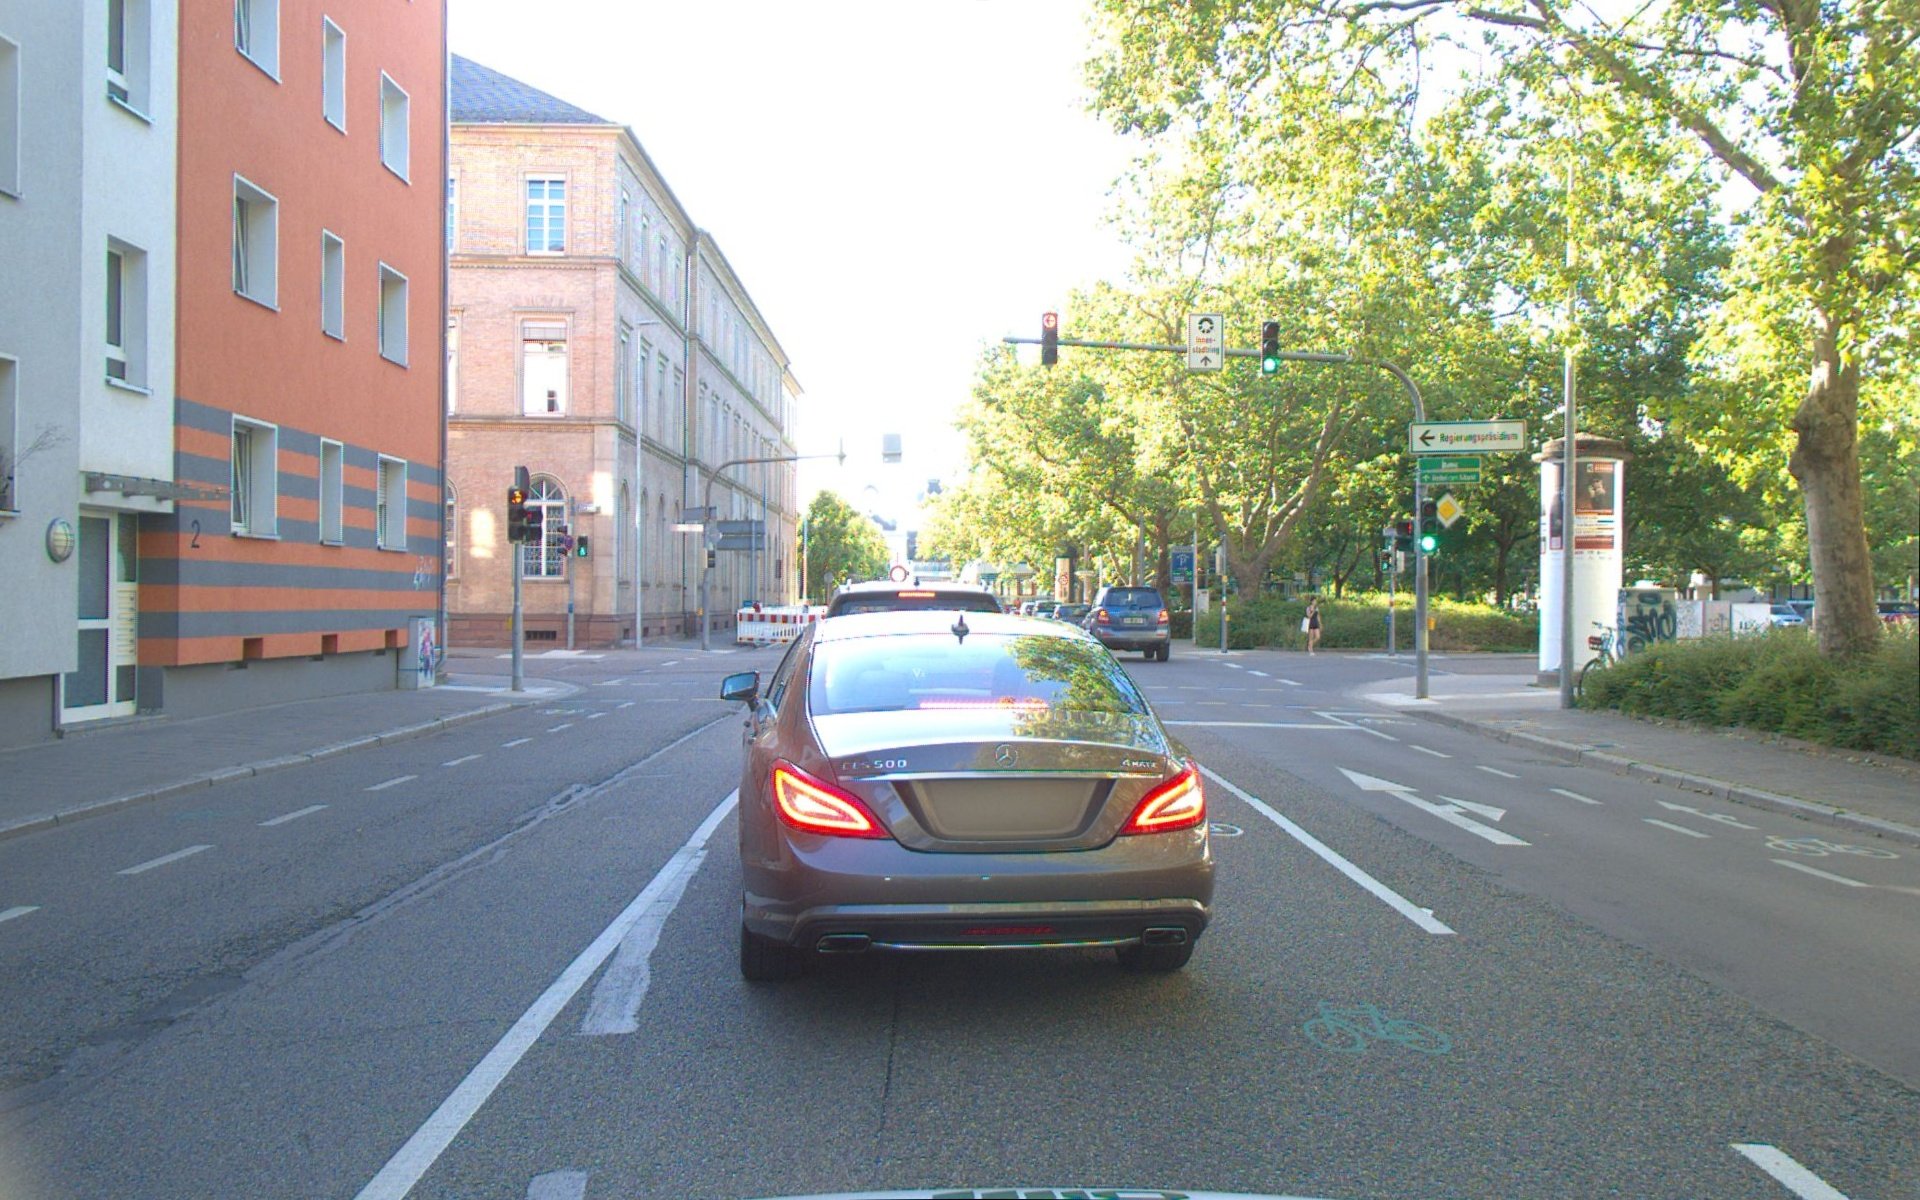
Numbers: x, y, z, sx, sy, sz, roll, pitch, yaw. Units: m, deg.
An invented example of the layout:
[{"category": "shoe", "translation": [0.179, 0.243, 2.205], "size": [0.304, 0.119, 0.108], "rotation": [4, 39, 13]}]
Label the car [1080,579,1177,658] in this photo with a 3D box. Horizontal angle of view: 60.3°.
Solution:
[{"category": "car", "translation": [4.027, 0.414, 40.172], "size": [1.823, 1.794, 4.481], "rotation": [1, 0, -1]}]

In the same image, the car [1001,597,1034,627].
[{"category": "car", "translation": [3.113, 0.656, 89.923], "size": [1.568, 1.576, 3.680], "rotation": [1, 0, -1]}]

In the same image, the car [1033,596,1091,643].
[{"category": "car", "translation": [3.485, 0.646, 56.887], "size": [1.670, 1.545, 3.999], "rotation": [1, 0, -1]}]

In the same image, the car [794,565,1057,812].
[{"category": "car", "translation": [-0.270, 0.619, 13.612], "size": [1.823, 1.712, 3.999], "rotation": [1, 0, -1]}]

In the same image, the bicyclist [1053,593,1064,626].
[{"category": "bicyclist", "translation": [6.261, 0.607, 105.175], "size": [0.583, 2.075, 0.565], "rotation": [1, -1, -5]}]

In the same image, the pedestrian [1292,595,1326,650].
[{"category": "pedestrian", "translation": [10.066, 0.640, 47.720], "size": [0.625, 1.572, 0.906], "rotation": [1, -1, -15]}]

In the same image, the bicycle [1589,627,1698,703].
[{"category": "bicycle", "translation": [9.872, 0.923, 23.856], "size": [1.868, 1.046, 0.633], "rotation": [1, -1, -39]}]

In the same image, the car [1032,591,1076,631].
[{"category": "car", "translation": [4.129, 0.492, 73.068], "size": [1.696, 1.691, 3.680], "rotation": [1, 0, -1]}]

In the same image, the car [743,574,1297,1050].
[{"category": "car", "translation": [-0.034, 0.689, 7.484], "size": [1.826, 1.545, 3.993], "rotation": [1, 0, -8]}]
